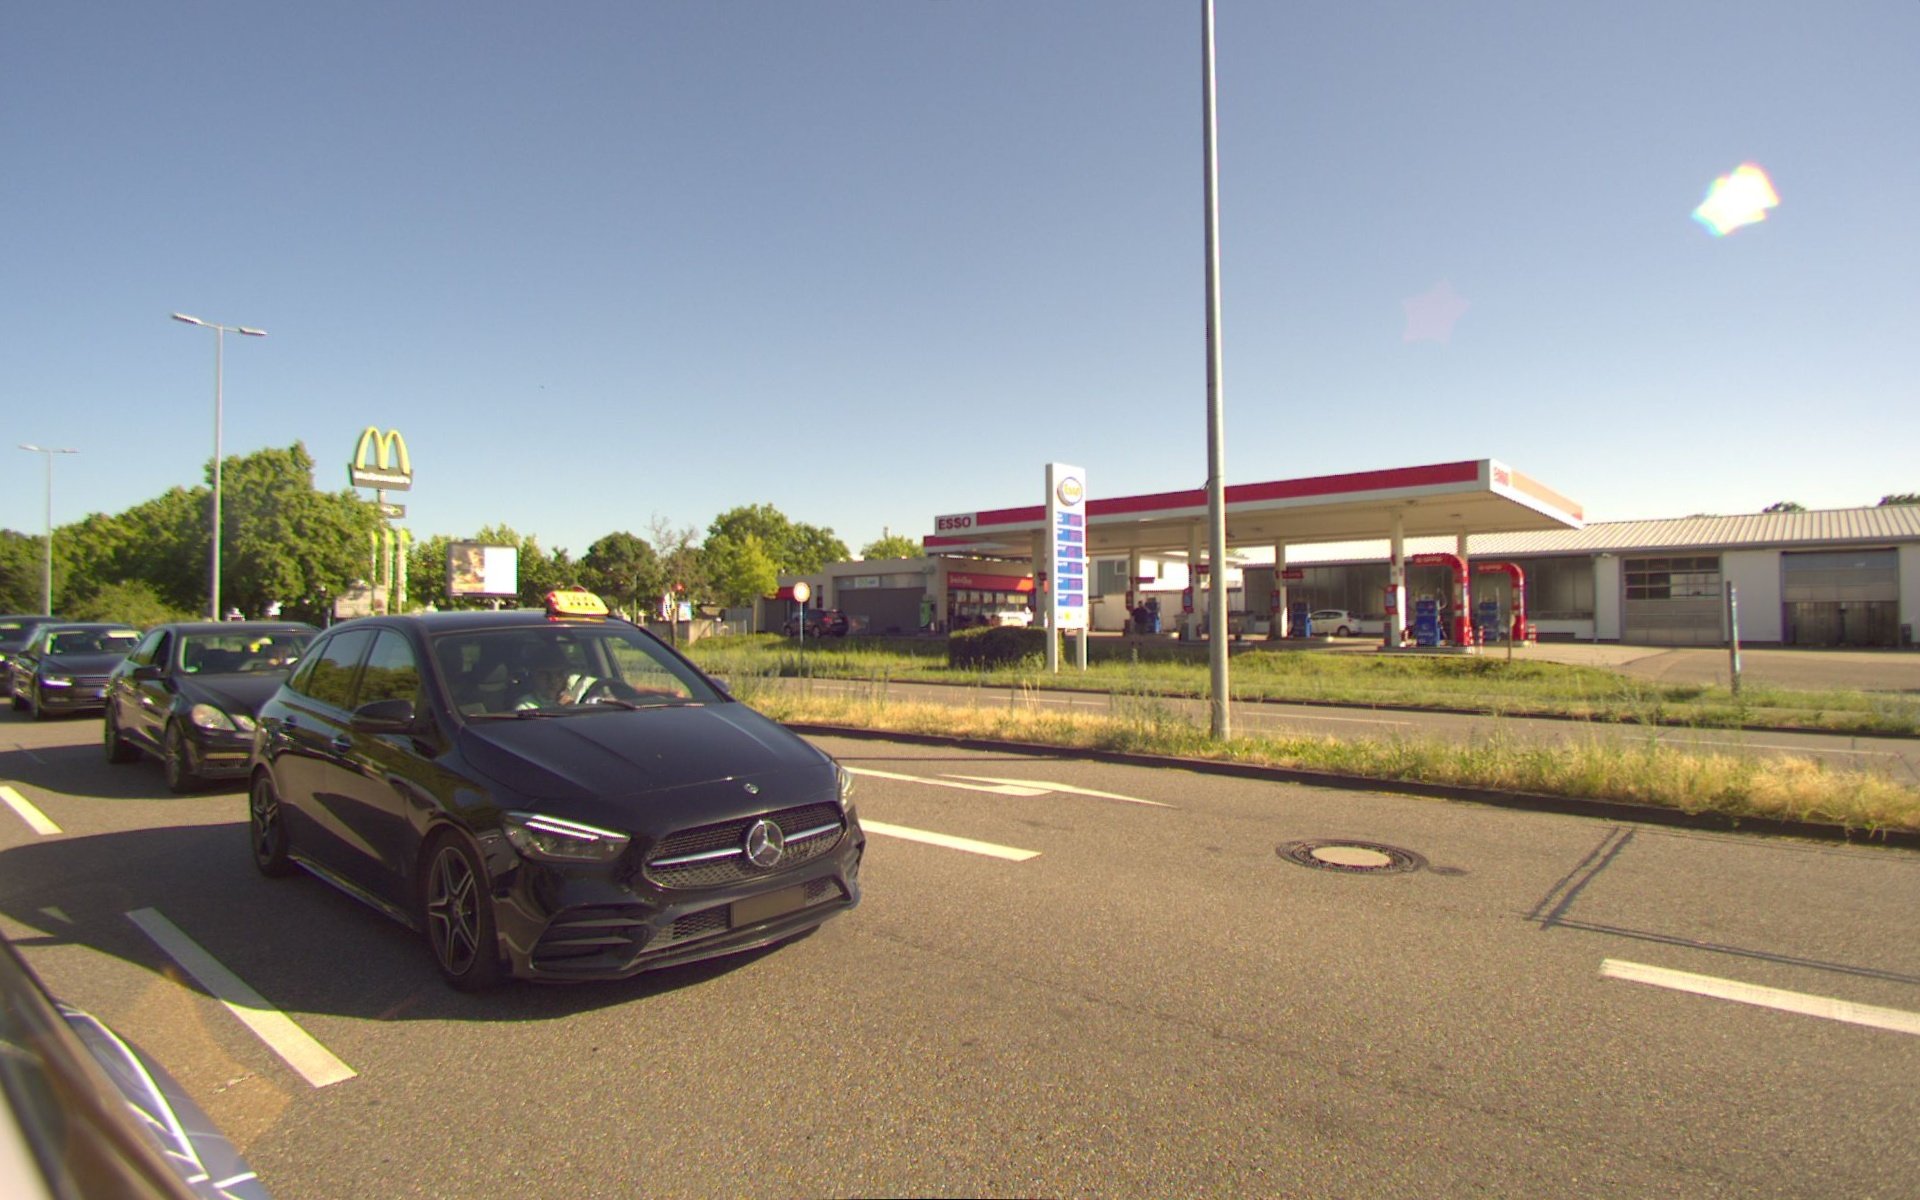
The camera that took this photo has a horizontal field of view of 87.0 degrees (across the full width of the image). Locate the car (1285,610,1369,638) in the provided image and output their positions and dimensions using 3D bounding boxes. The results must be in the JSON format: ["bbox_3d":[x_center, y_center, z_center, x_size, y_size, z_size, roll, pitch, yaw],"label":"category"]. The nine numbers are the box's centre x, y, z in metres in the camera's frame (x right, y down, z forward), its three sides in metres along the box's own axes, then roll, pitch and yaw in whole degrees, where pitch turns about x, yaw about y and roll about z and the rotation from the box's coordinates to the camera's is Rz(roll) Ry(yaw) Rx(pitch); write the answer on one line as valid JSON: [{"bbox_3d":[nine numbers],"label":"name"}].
[{"bbox_3d":[19.851,1.294,54.834,3.975,1.420,1.661,-1,-4,40],"label":"car"}]

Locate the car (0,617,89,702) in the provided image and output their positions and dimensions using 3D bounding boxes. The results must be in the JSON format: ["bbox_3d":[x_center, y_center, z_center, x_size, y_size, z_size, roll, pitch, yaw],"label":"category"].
[{"bbox_3d":[-19.973,1.210,21.479,3.876,1.629,1.653,-2,-1,40],"label":"car"}]

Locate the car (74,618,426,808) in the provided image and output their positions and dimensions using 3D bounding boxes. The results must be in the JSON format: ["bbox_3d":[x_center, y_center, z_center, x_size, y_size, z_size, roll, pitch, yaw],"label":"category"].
[{"bbox_3d":[-7.252,0.935,10.158,4.400,1.449,1.845,-1,0,40],"label":"car"}]

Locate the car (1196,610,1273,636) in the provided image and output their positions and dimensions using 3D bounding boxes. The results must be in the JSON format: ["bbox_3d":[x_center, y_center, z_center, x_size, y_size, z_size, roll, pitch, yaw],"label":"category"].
[{"bbox_3d":[15.849,1.345,58.576,3.975,1.420,1.661,-1,-4,40],"label":"car"}]

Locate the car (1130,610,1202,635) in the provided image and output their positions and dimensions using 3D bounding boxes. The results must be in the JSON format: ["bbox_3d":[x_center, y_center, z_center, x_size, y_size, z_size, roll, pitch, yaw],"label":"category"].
[{"bbox_3d":[12.451,1.389,61.376,3.975,1.420,1.661,-1,-4,40],"label":"car"}]

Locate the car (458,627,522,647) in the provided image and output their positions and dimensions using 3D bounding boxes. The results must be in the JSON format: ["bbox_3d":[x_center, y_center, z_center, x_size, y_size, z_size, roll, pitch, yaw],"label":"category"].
[{"bbox_3d":[-34.830,2.755,75.108,1.763,1.420,3.925,-1,-4,40],"label":"car"}]

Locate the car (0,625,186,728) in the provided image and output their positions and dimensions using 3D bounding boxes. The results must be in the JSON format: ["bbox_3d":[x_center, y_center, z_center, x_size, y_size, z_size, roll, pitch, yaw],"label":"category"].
[{"bbox_3d":[-14.442,1.159,16.691,4.284,1.438,1.775,-1,0,40],"label":"car"}]

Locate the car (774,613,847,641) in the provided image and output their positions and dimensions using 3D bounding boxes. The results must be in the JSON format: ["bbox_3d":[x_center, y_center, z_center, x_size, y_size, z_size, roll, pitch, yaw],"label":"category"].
[{"bbox_3d":[-8.127,1.448,54.759,3.975,1.420,1.661,-1,-4,40],"label":"car"}]

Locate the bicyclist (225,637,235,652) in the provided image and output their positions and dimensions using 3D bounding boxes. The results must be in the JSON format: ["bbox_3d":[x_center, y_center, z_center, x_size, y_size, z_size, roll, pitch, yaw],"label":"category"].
[{"bbox_3d":[-66.387,4.016,92.067,0.700,1.298,0.621,-1,0,42],"label":"bicyclist"}]

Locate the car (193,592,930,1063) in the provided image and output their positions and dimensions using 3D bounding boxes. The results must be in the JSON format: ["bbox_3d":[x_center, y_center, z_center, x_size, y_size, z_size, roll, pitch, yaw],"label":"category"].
[{"bbox_3d":[-2.375,0.742,5.331,4.400,1.502,1.741,-1,0,40],"label":"car"}]

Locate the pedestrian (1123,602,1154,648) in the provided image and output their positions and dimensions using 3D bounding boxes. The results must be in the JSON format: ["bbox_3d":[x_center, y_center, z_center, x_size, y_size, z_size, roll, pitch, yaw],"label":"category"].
[{"bbox_3d":[7.033,0.982,39.803,0.888,1.763,0.794,-1,0,-25],"label":"pedestrian"}]

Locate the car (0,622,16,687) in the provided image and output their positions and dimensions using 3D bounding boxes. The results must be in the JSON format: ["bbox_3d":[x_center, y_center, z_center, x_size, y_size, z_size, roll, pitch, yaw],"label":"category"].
[{"bbox_3d":[-25.213,1.375,25.539,3.774,1.567,1.615,-1,0,40],"label":"car"}]
